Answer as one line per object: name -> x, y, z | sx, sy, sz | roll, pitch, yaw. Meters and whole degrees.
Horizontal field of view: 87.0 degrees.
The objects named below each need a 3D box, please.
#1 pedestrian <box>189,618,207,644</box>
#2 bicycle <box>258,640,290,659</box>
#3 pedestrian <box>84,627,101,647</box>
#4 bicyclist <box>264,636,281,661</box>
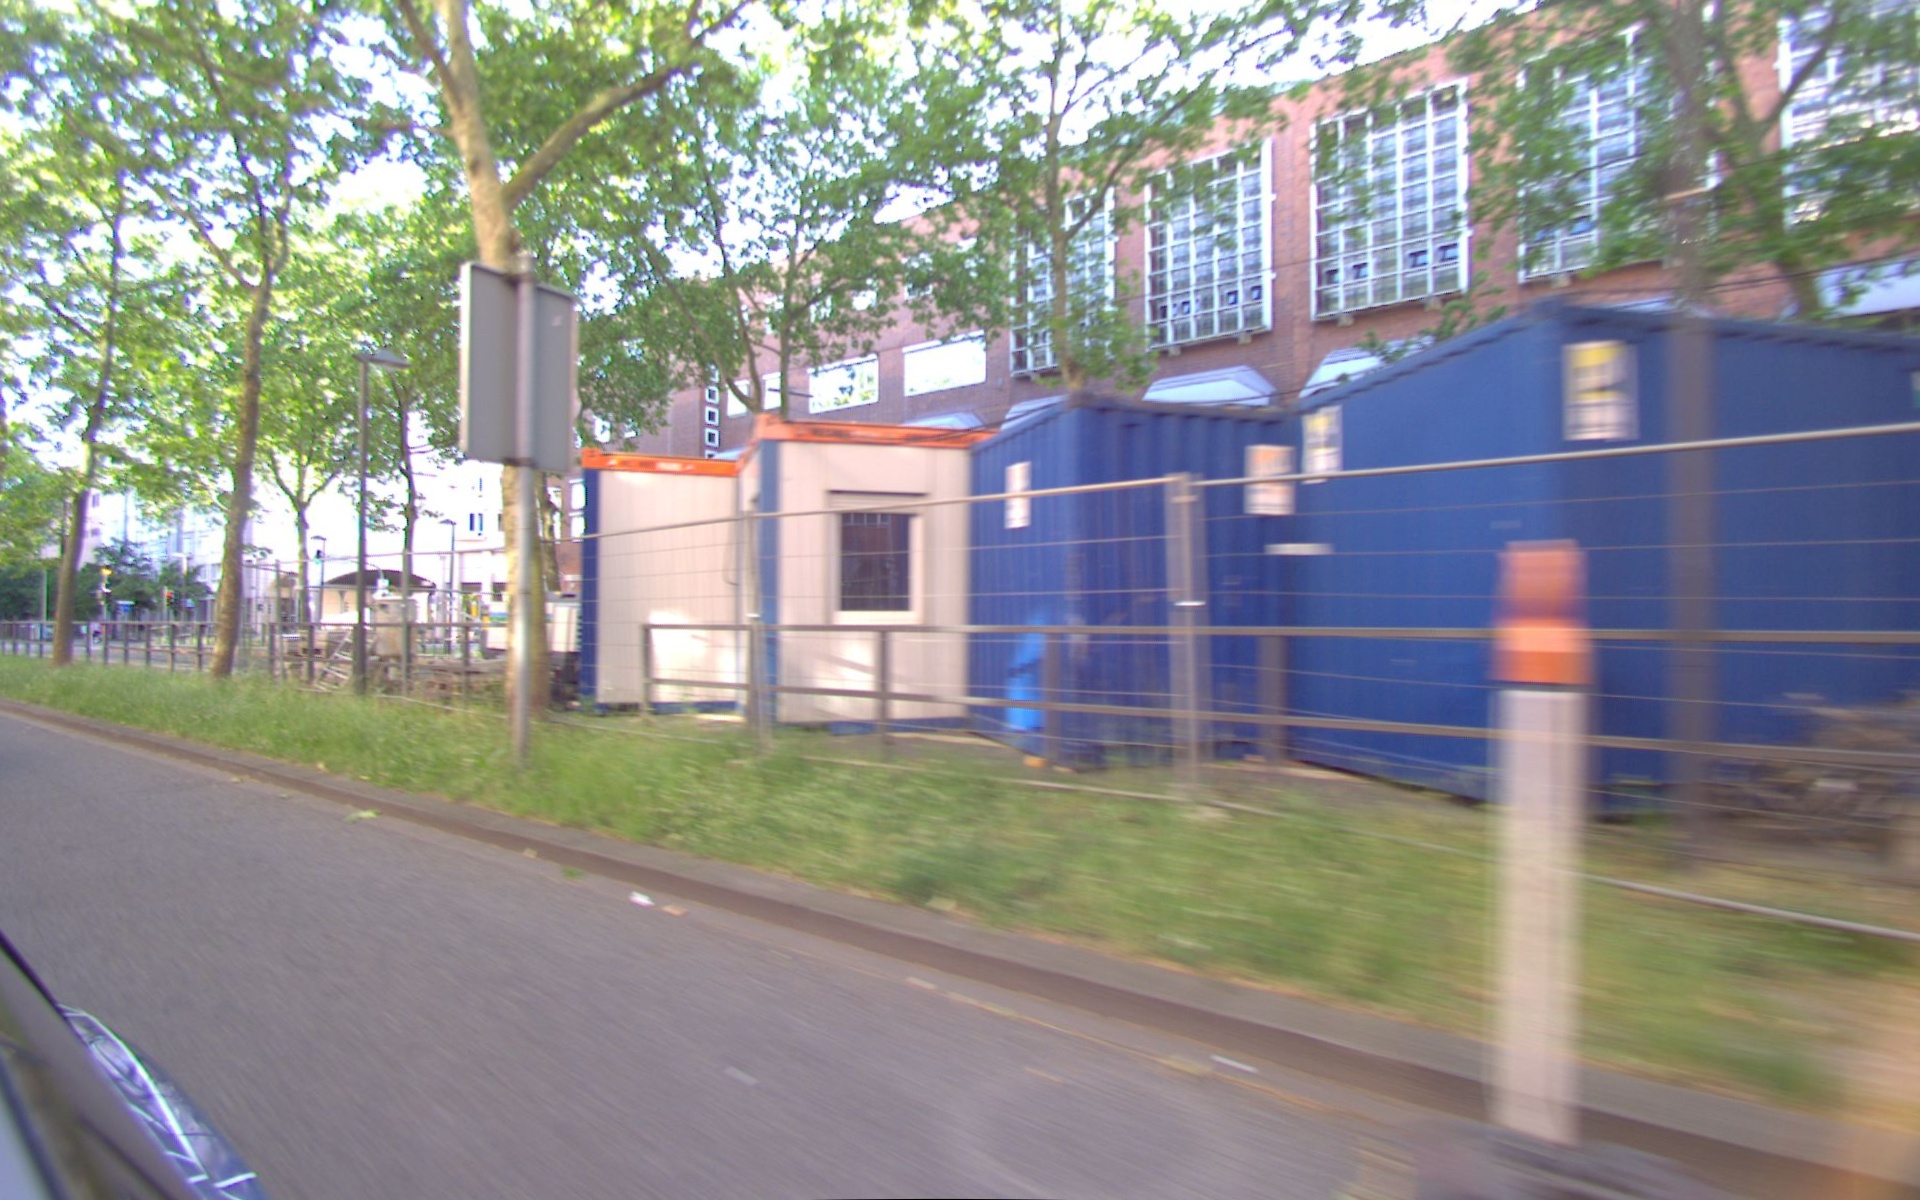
pedestrian -> -61.281, 2.494, 81.377 | 0.875, 2.029, 0.993 | -1, -1, 40
bicycle -> -47.558, 3.416, 70.167 | 1.797, 1.271, 0.772 | 0, -1, 7
pedestrian -> -70.830, 3.032, 82.631 | 0.876, 1.613, 0.993 | -1, -1, 43
bicyclist -> -47.616, 3.344, 70.130 | 0.660, 1.661, 0.717 | 0, -1, 7
